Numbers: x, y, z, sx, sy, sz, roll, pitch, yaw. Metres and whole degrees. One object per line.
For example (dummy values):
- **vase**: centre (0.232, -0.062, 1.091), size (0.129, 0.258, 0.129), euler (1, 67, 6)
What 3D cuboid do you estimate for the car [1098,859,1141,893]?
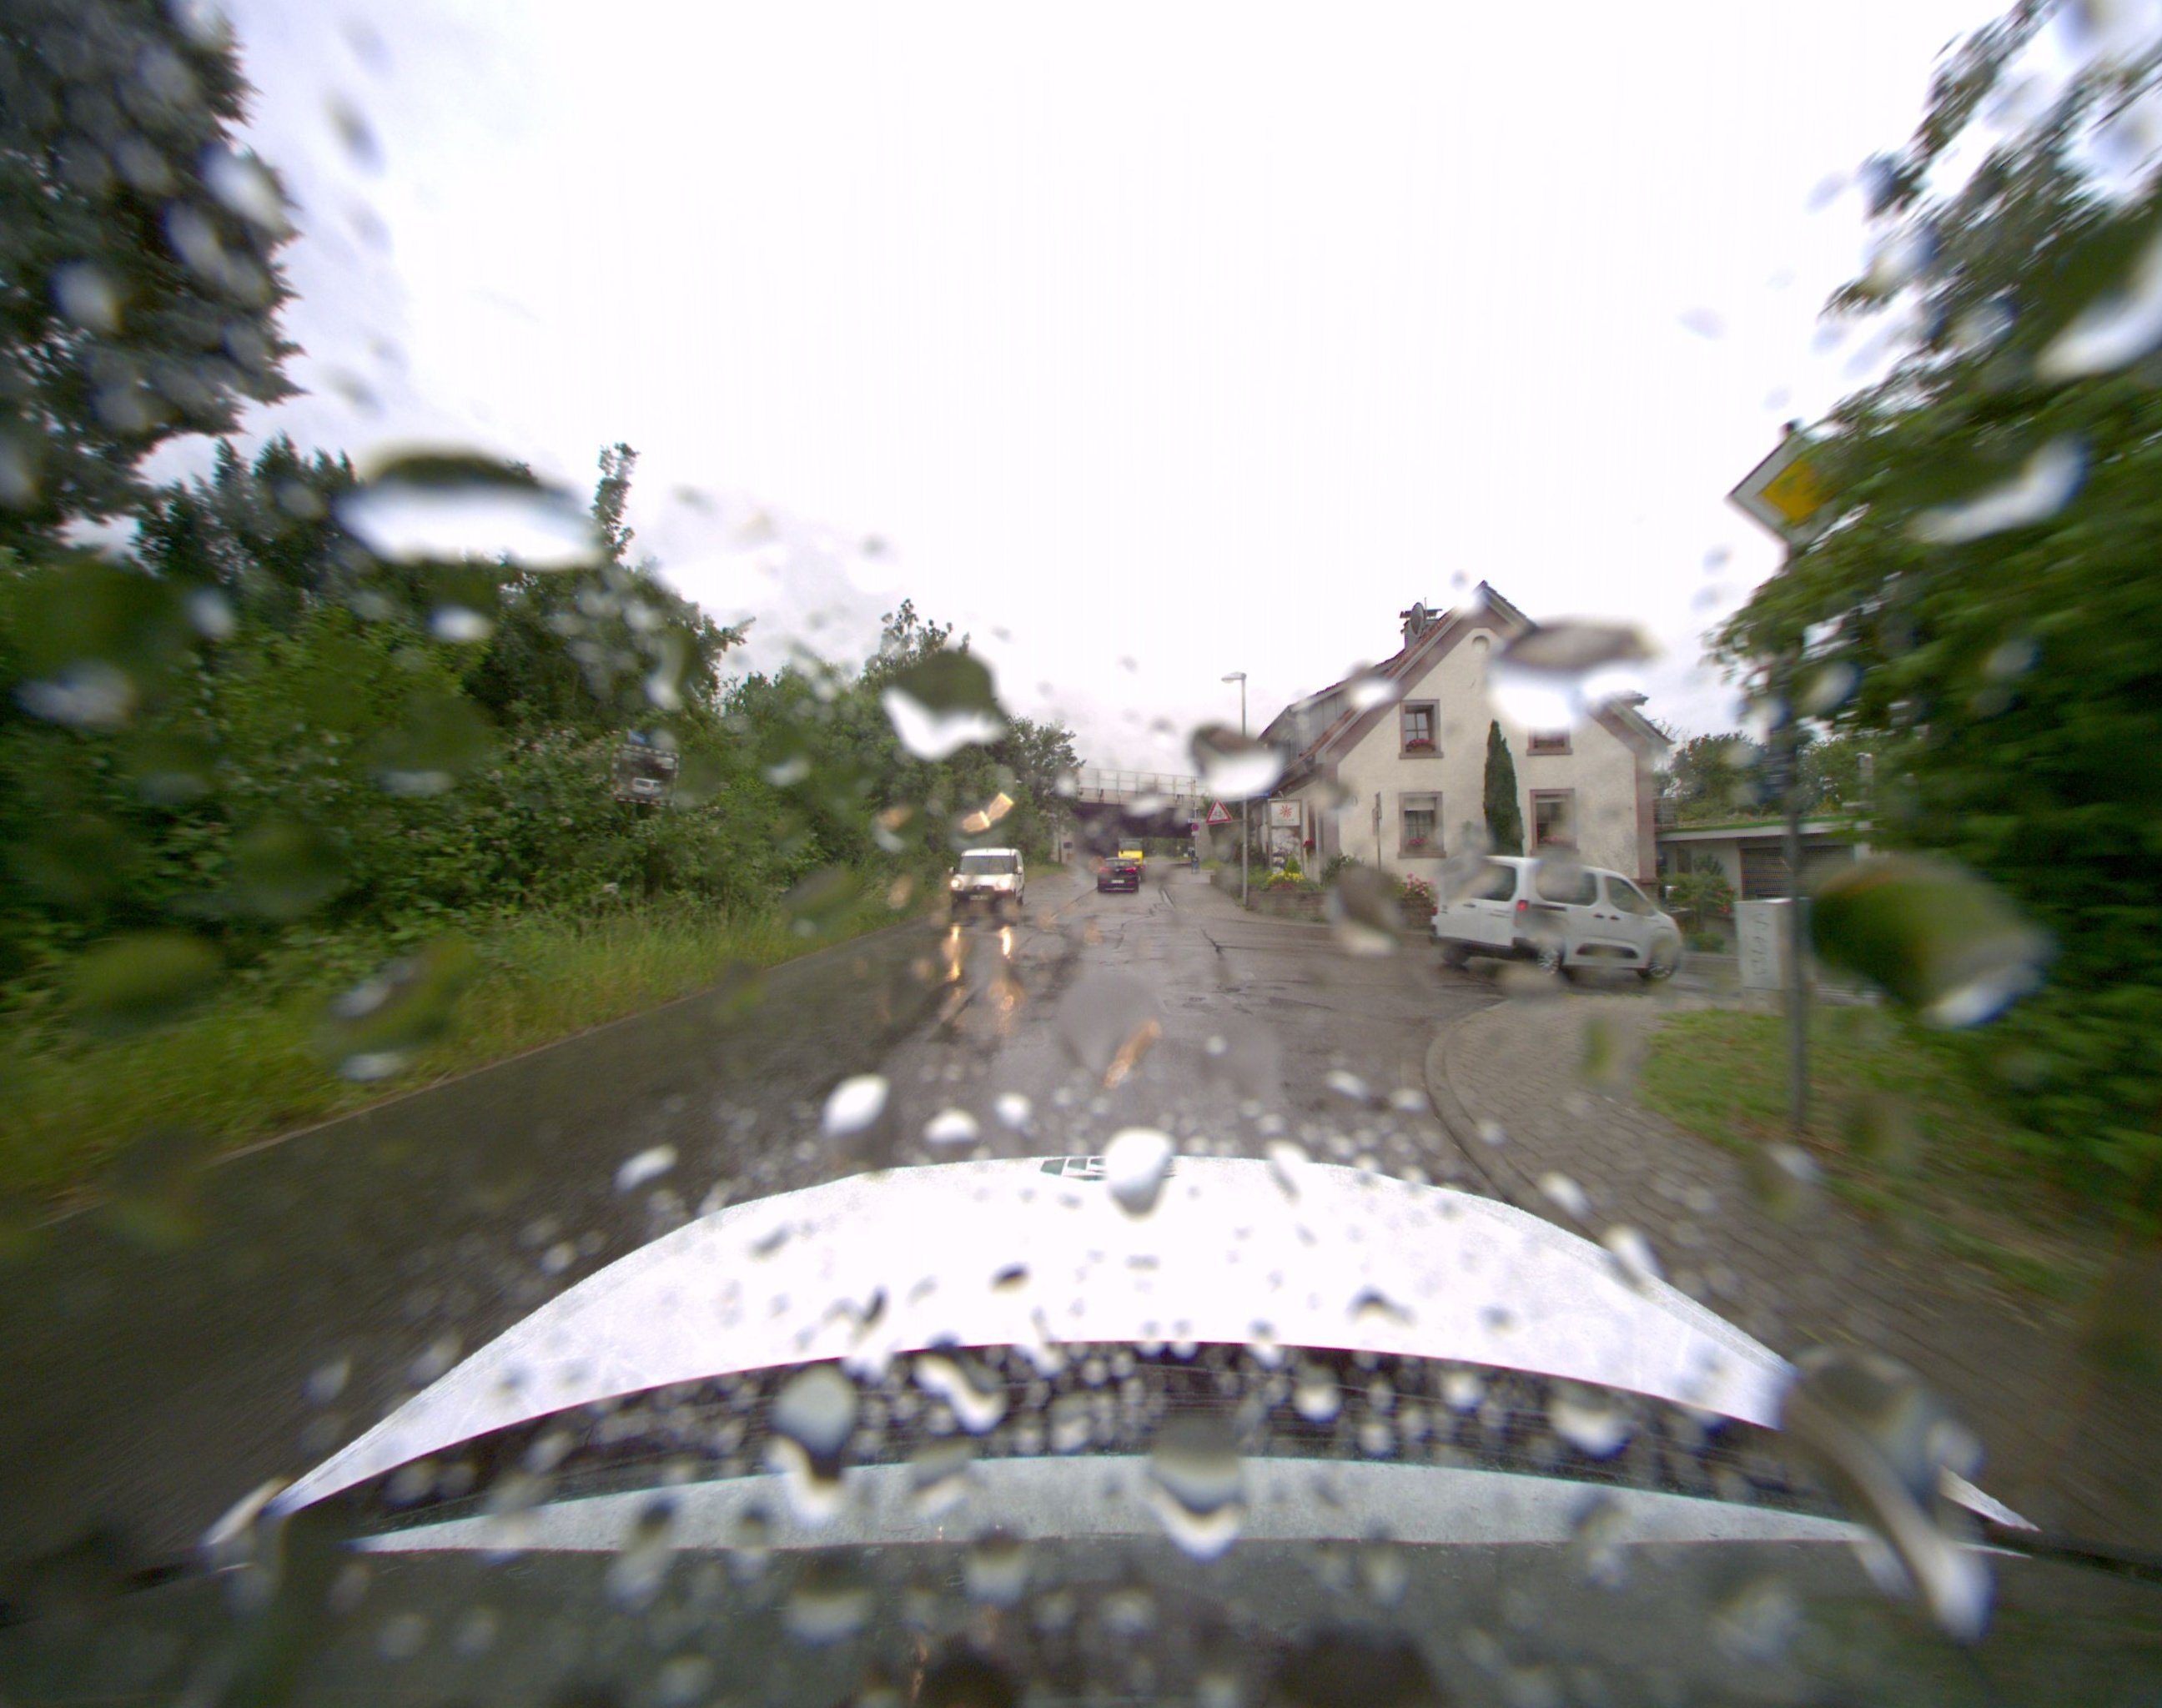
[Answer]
- **car**: centre (1.717, 0.896, 35.397), size (1.701, 1.377, 4.005), euler (1, 0, 5)

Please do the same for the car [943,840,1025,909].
- **car**: centre (-2.703, 0.554, 23.714), size (1.817, 1.832, 4.307), euler (0, 0, 0)

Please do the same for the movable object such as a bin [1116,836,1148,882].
- **movable object such as a bin**: centre (3.008, 0.294, 47.260), size (1.753, 2.548, 4.244), euler (1, 0, 4)

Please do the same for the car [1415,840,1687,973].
- **car**: centre (7.592, 0.729, 13.158), size (4.008, 1.807, 1.887), euler (-1, 0, -26)
